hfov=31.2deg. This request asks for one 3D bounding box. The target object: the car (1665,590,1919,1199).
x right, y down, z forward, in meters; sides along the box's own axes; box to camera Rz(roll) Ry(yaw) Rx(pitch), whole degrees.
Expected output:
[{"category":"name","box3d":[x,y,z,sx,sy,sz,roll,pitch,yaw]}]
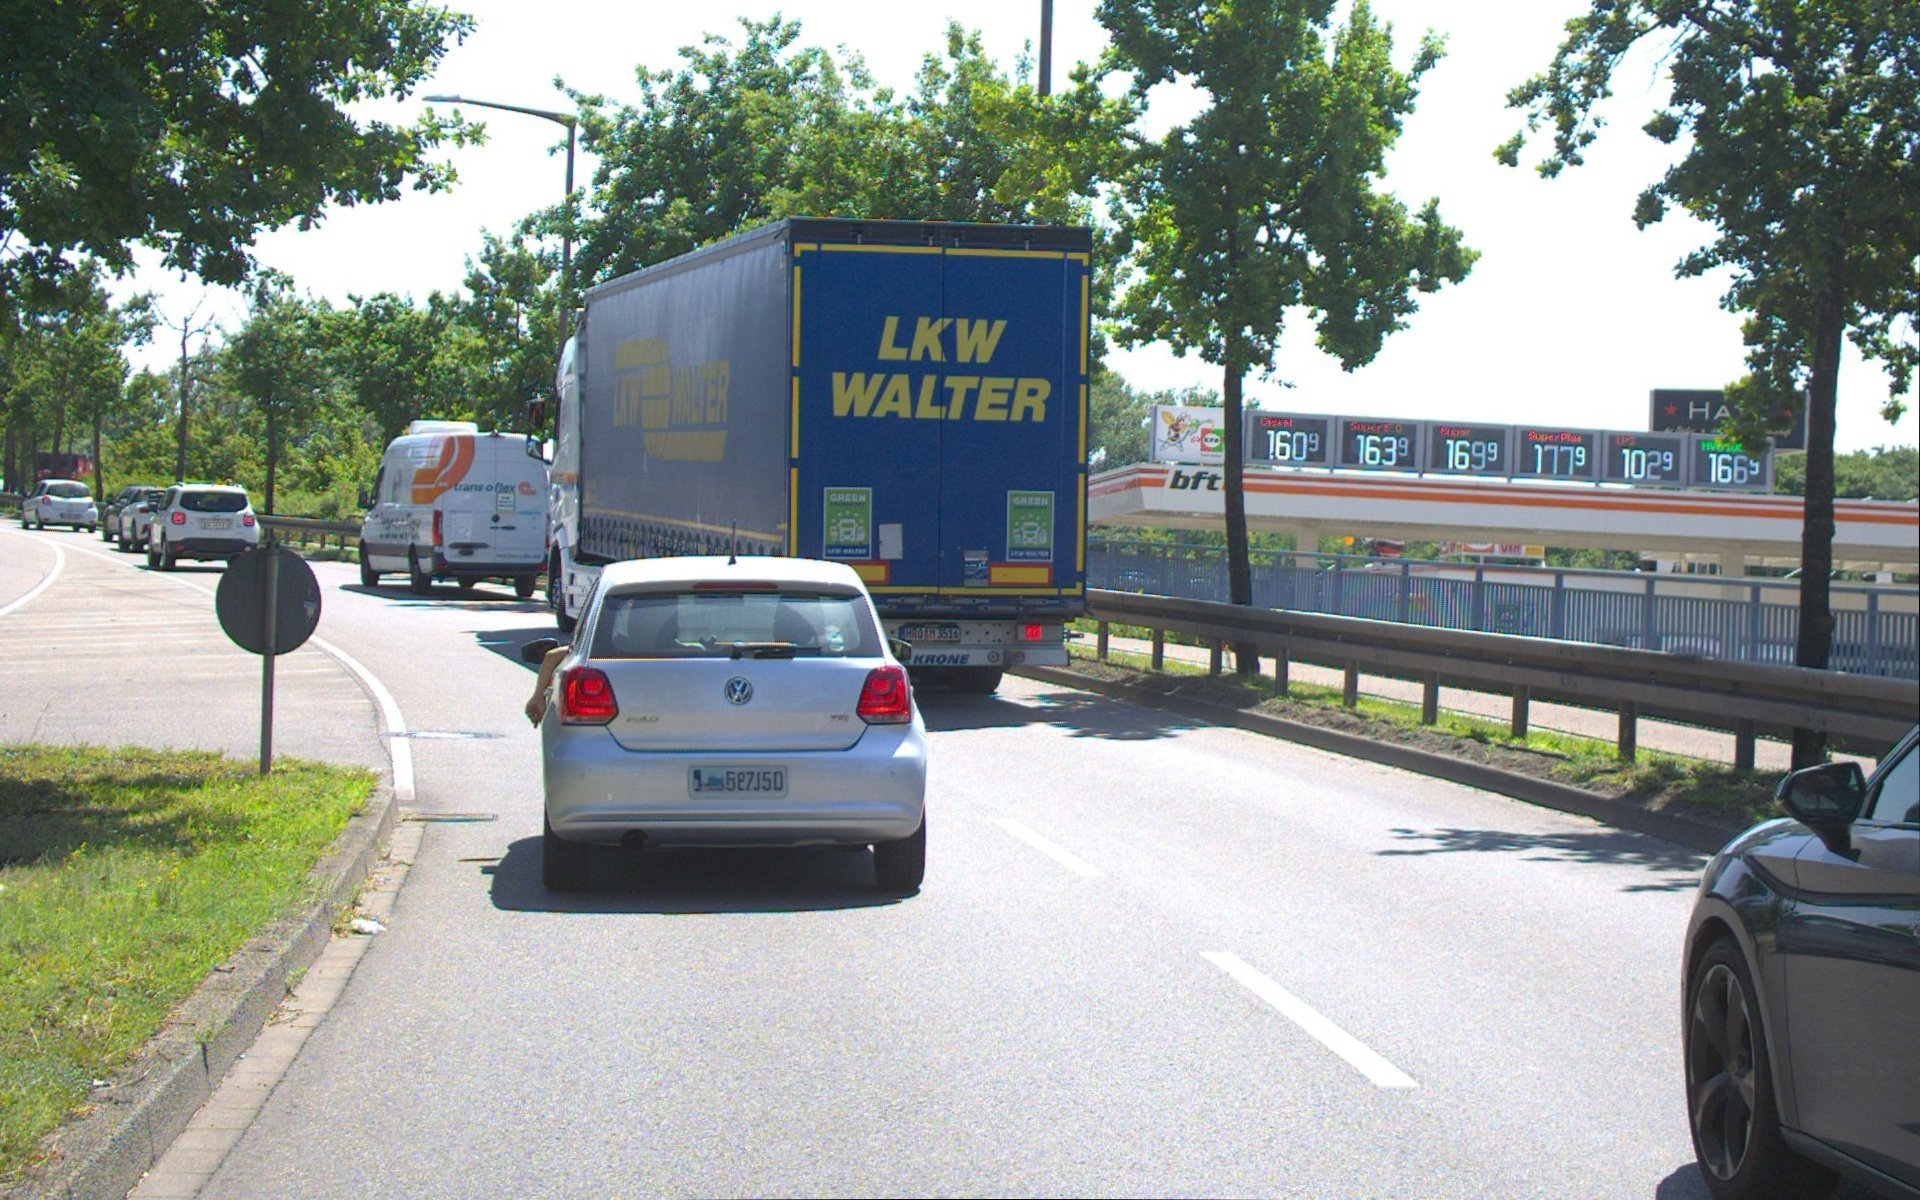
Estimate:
[{"category":"car","box3d":[2.660,0.728,6.269,1.604,1.451,4.236,2,0,-4]}]

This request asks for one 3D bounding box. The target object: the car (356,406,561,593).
[{"category":"car","box3d":[-8.465,-1.705,57.502,2.175,2.890,6.360,1,2,-19]}]

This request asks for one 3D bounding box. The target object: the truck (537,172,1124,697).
[{"category":"truck","box3d":[-2.016,-1.466,36.019,2.832,4.184,16.479,1,1,-14]}]

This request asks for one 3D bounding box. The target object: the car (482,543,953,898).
[{"category":"car","box3d":[-1.230,0.498,15.922,1.645,1.434,3.538,2,0,-12]}]

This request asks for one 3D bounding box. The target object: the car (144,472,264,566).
[{"category":"car","box3d":[-14.802,-1.548,67.178,1.903,1.712,4.225,2,0,-17]}]

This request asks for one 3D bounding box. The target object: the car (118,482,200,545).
[{"category":"car","box3d":[-18.243,-1.959,78.182,1.494,1.355,3.664,1,1,-18]}]

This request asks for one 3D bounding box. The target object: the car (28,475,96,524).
[{"category":"car","box3d":[-26.129,-2.904,99.987,1.607,1.355,3.664,1,1,-19]}]
